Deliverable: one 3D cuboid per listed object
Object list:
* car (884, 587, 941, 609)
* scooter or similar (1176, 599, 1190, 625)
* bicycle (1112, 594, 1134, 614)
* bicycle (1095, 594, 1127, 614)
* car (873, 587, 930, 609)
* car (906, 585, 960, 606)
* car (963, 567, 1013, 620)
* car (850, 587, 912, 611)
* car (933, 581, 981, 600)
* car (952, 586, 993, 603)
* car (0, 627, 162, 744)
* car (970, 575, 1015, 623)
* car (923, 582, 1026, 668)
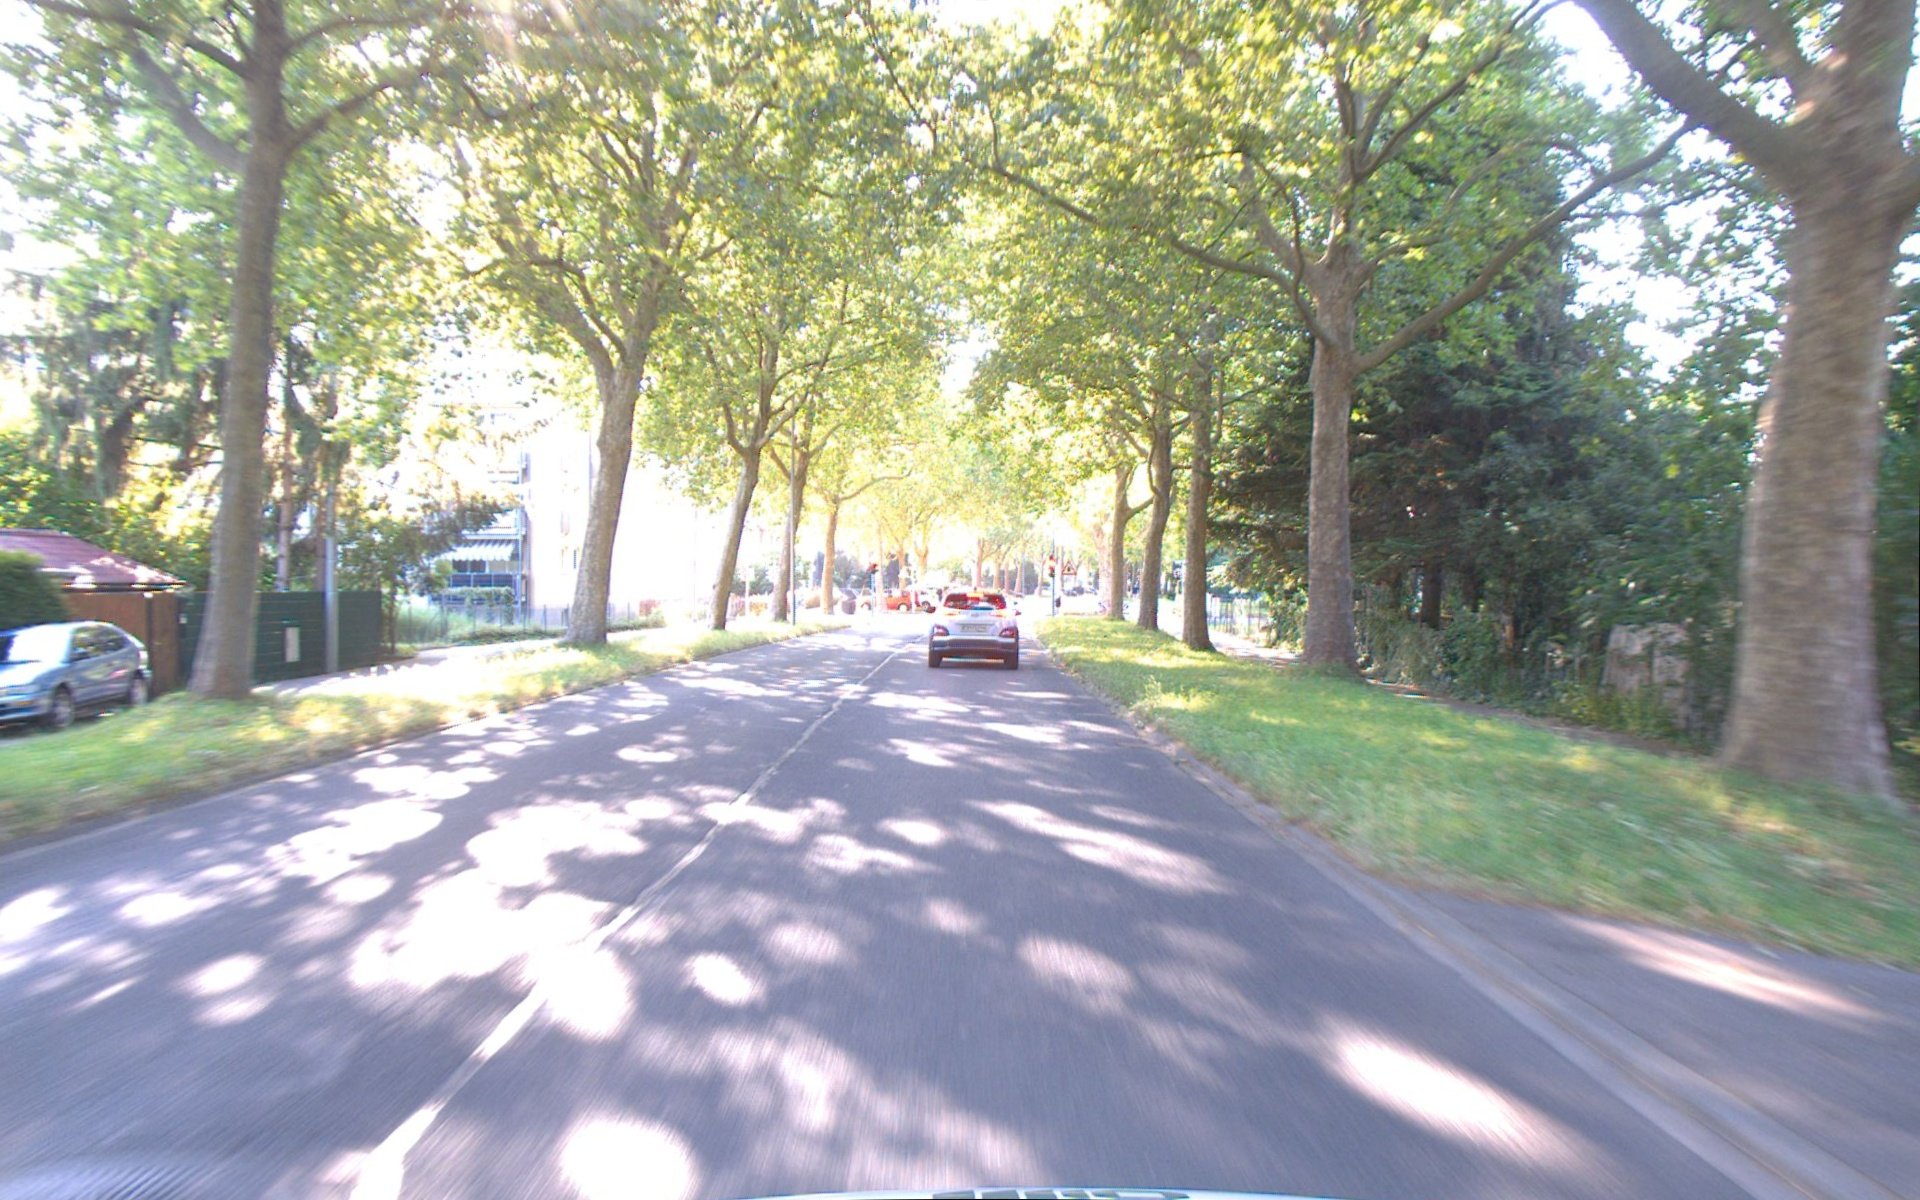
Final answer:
[{"bbox_3d":[-3.438,-0.154,120.195,3.903,1.504,2.001,1,0,5],"label":"car"},{"bbox_3d":[11.455,0.618,85.040,0.538,1.280,2.314,1,0,3],"label":"scooter or similar"},{"bbox_3d":[10.243,0.239,104.045,0.594,1.204,2.109,2,0,-17],"label":"bicycle"},{"bbox_3d":[9.400,0.269,102.978,0.600,1.184,2.118,2,0,-41],"label":"bicycle"},{"bbox_3d":[-4.151,-0.140,117.791,3.904,1.504,2.001,1,0,3],"label":"car"},{"bbox_3d":[-2.027,-0.336,125.494,3.904,1.504,2.001,1,0,3],"label":"car"},{"bbox_3d":[1.139,-0.263,67.227,1.952,2.049,4.000,1,0,1],"label":"car"},{"bbox_3d":[-5.247,-0.081,110.369,3.904,1.504,2.001,1,0,3],"label":"car"},{"bbox_3d":[-0.244,-0.821,139.700,3.904,1.504,2.001,1,0,3],"label":"car"},{"bbox_3d":[1.274,-0.543,162.716,3.904,1.504,2.001,1,0,3],"label":"car"},{"bbox_3d":[-12.800,1.122,22.936,1.717,1.327,3.998,-1,1,-4],"label":"car"},{"bbox_3d":[1.436,-0.022,74.191,1.953,2.049,4.000,1,0,0],"label":"car"},{"bbox_3d":[0.309,0.491,33.833,1.952,1.602,4.000,1,0,1],"label":"car"}]
